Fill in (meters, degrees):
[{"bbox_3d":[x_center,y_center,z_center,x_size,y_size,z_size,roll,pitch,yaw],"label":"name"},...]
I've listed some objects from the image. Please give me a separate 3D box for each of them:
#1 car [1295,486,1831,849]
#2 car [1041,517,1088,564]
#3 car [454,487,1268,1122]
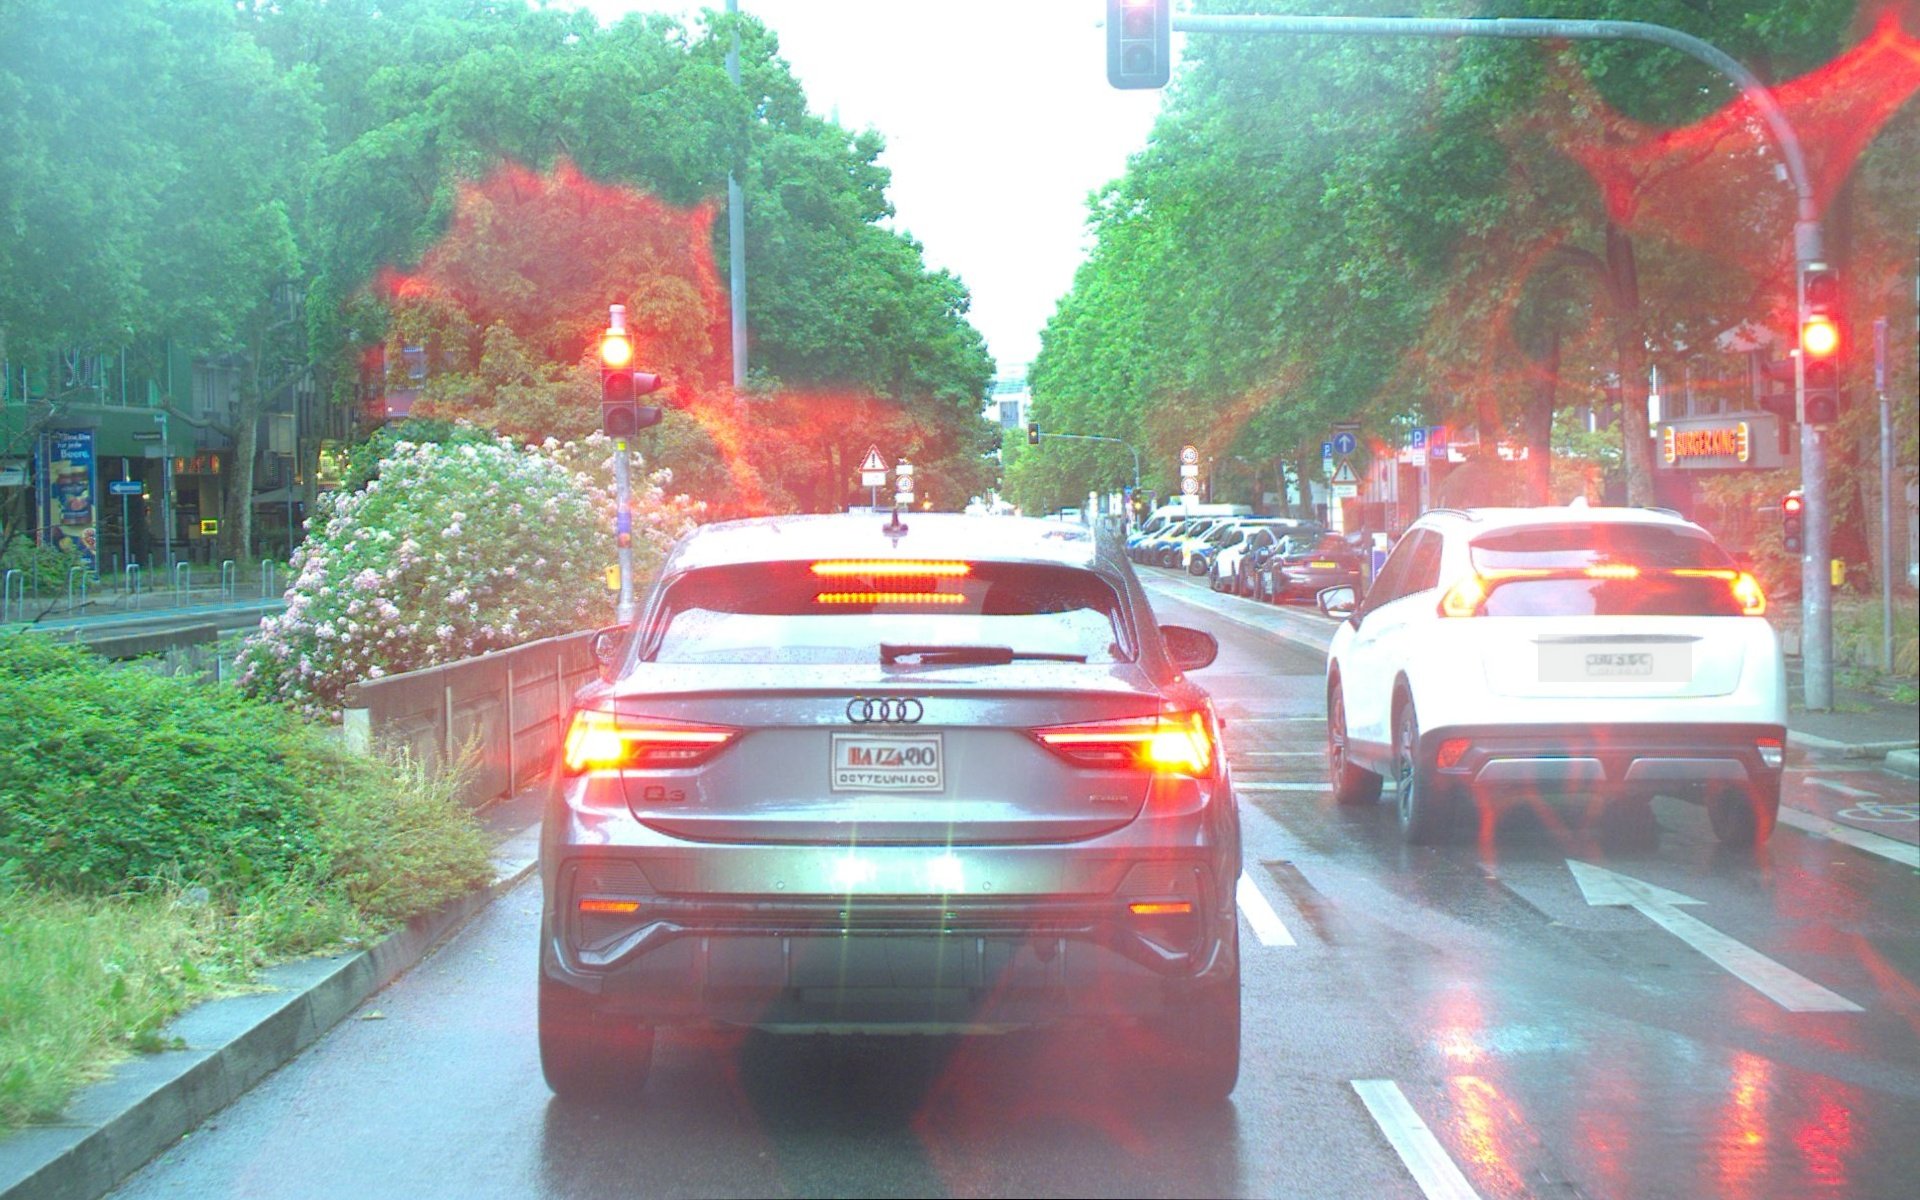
[{"bbox_3d":[3.014,0.247,18.267,1.993,1.649,4.889,-1,1,0],"label":"car"},{"bbox_3d":[3.879,-2.249,128.493,1.620,1.660,4.000,-1,2,0],"label":"car"},{"bbox_3d":[-0.226,0.421,10.151,1.918,1.486,4.000,0,2,0],"label":"car"}]
